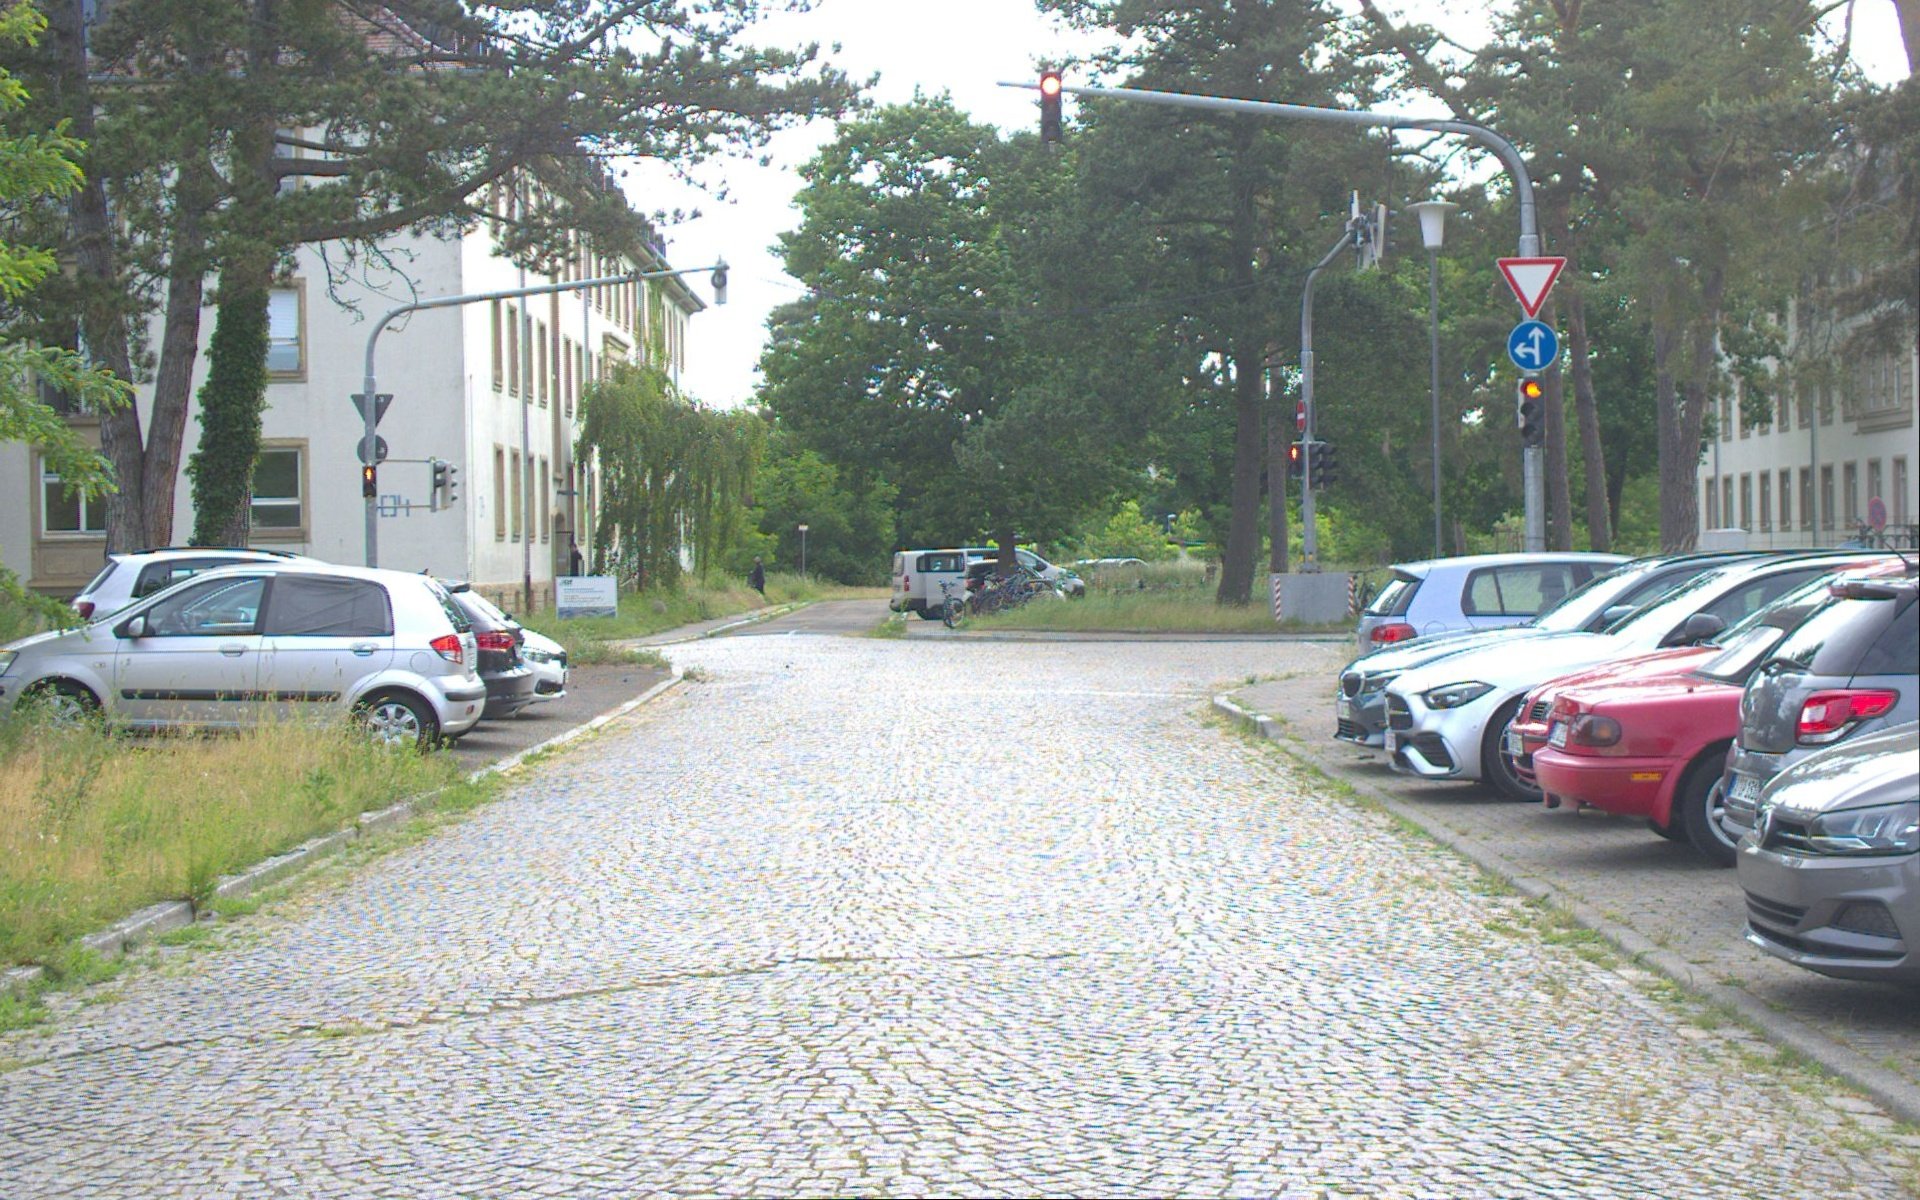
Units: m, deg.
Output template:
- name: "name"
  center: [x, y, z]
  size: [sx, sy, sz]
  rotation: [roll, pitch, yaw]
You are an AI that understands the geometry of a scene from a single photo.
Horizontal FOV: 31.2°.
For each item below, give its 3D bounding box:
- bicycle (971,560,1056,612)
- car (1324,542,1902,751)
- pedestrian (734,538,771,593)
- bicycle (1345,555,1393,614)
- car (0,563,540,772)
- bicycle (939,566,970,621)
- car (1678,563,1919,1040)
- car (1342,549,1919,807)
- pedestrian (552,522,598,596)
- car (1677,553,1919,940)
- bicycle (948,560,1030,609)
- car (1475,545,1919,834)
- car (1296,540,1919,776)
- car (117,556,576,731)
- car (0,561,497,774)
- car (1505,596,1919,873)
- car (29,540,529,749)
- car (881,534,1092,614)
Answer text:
- name: "bicycle"
  center: [1.220, -0.329, 79.151]
  size: [1.881, 1.167, 0.665]
  rotation: [1, 0, -5]
- name: "car"
  center: [5.083, 0.336, 27.027]
  size: [4.134, 1.458, 1.634]
  rotation: [-2, 1, -5]
- name: "pedestrian"
  center: [-7.460, -1.250, 123.555]
  size: [1.239, 1.952, 1.121]
  rotation: [1, 0, -5]
- name: "bicycle"
  center: [7.592, -0.298, 63.865]
  size: [0.663, 1.047, 1.888]
  rotation: [1, 1, 0]
- name: "car"
  center: [-5.717, 0.531, 28.722]
  size: [4.297, 1.548, 1.812]
  rotation: [-2, 1, -6]
- name: "bicycle"
  center: [-0.118, -0.149, 74.522]
  size: [0.663, 1.167, 1.888]
  rotation: [1, 1, 0]
- name: "car"
  center: [4.669, 0.567, 11.511]
  size: [4.130, 1.442, 1.766]
  rotation: [-2, 1, 1]
- name: "car"
  center: [4.686, 0.446, 21.708]
  size: [4.184, 1.432, 1.755]
  rotation: [-2, 1, -7]
- name: "pedestrian"
  center: [-10.271, -1.096, 91.680]
  size: [1.074, 1.952, 1.121]
  rotation: [1, 0, 0]
- name: "car"
  center: [4.957, 0.527, 14.377]
  size: [3.505, 1.482, 1.743]
  rotation: [-2, 1, 0]
- name: "bicycle"
  center: [0.696, -0.371, 82.650]
  size: [1.881, 1.167, 0.665]
  rotation: [1, 0, -5]
- name: "car"
  center: [5.108, 0.445, 19.344]
  size: [4.105, 1.471, 1.685]
  rotation: [-2, 1, -2]
- name: "car"
  center: [4.690, 0.376, 24.474]
  size: [4.227, 1.474, 1.710]
  rotation: [-2, 1, -10]
- name: "car"
  center: [-5.991, 0.402, 33.981]
  size: [4.297, 1.548, 1.812]
  rotation: [-2, 1, -6]
- name: "car"
  center: [-5.478, 0.491, 26.124]
  size: [3.720, 1.476, 1.673]
  rotation: [1, 1, -3]
- name: "car"
  center: [4.621, 0.615, 17.005]
  size: [3.587, 1.218, 1.628]
  rotation: [-2, 1, 1]
- name: "car"
  center: [-6.168, 0.377, 31.527]
  size: [4.297, 1.726, 1.653]
  rotation: [-2, 1, -5]
- name: "car"
  center: [0.710, -0.719, 93.955]
  size: [5.375, 2.094, 2.179]
  rotation: [-1, 1, -12]
